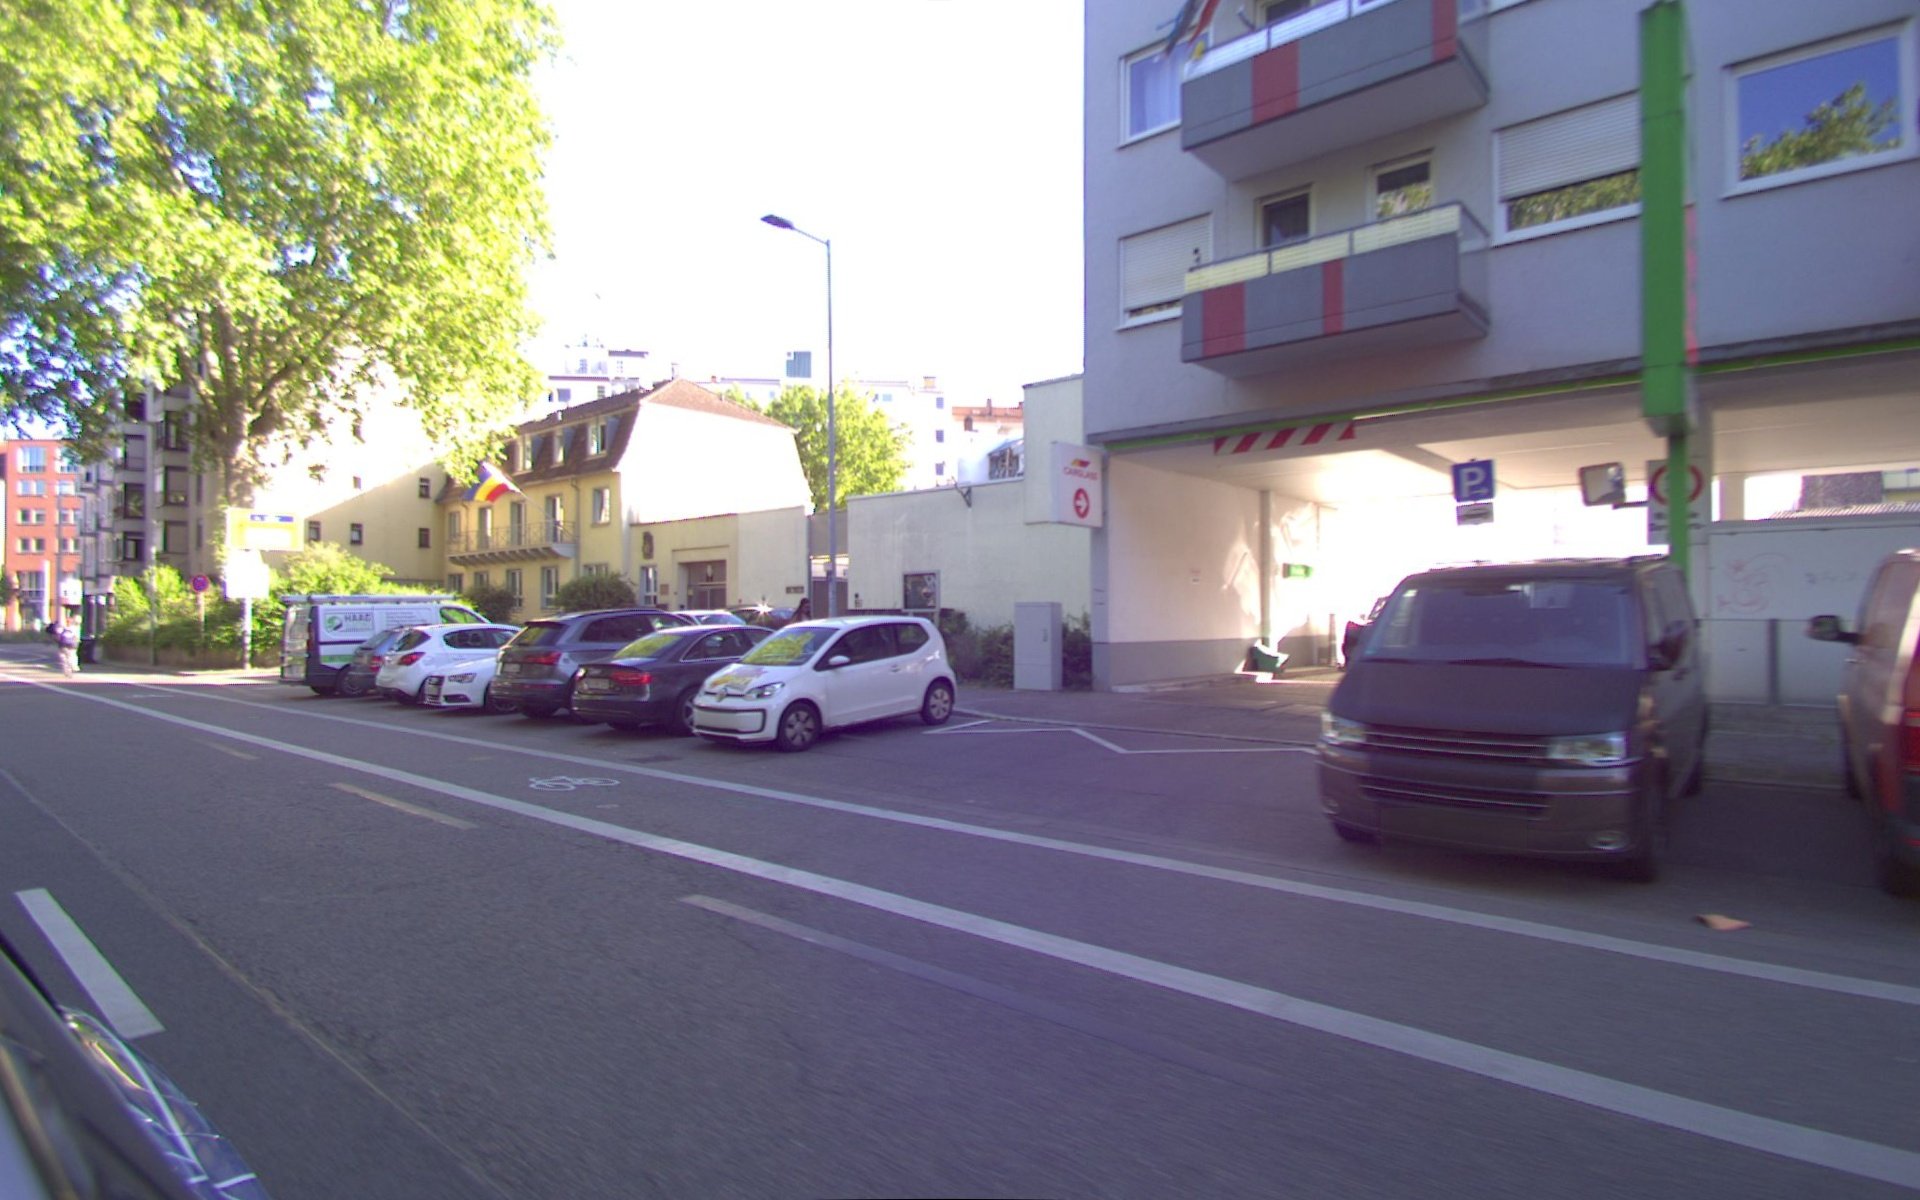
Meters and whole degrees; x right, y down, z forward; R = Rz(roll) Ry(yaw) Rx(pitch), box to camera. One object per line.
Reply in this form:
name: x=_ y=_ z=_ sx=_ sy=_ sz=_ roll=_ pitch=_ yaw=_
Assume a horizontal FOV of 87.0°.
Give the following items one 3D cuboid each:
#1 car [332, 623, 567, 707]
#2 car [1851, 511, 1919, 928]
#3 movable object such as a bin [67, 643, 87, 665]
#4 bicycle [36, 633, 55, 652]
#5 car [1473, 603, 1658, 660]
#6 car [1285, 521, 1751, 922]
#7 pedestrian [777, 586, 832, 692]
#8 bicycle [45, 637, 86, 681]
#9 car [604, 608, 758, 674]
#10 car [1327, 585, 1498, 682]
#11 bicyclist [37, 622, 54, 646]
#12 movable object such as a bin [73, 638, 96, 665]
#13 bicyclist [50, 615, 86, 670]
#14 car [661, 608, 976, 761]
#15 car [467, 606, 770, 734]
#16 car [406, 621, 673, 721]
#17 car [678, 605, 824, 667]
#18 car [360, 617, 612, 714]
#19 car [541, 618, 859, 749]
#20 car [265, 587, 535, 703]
car: x=-10.501 y=1.271 z=21.017 sx=1.852 sy=1.444 sz=3.946 roll=-2 pitch=0 yaw=40
car: x=6.618 y=0.473 z=5.814 sx=2.145 sy=1.966 sz=4.376 roll=-2 pitch=1 yaw=41
movable object such as a bin: x=-37.084 y=2.254 z=42.490 sx=0.603 sy=0.908 sz=0.536 roll=-1 pitch=-2 yaw=41
bicycle: x=-62.096 y=2.871 z=68.691 sx=2.178 sy=1.209 sz=0.721 roll=-1 pitch=-3 yaw=43
car: x=17.045 y=0.865 z=28.600 sx=4.252 sy=1.475 sz=1.757 roll=-2 pitch=-1 yaw=41
car: x=4.282 y=0.542 z=7.336 sx=2.055 sy=1.966 sz=4.476 roll=-2 pitch=1 yaw=41
pedestrian: x=-2.729 y=0.671 z=17.723 sx=0.722 sy=1.803 sz=0.625 roll=-2 pitch=-2 yaw=41
bicycle: x=-26.184 y=1.710 z=29.609 sx=2.048 sy=1.249 sz=0.600 roll=-2 pitch=-4 yaw=41
car: x=-7.023 y=0.988 z=25.299 sx=3.998 sy=1.475 sz=1.771 roll=-2 pitch=0 yaw=41
car: x=9.366 y=0.630 z=20.748 sx=1.999 sy=1.763 sz=4.476 roll=-2 pitch=-1 yaw=41
bicyclist: x=-62.112 y=2.296 z=68.729 sx=1.167 sy=1.654 sz=0.721 roll=-1 pitch=-2 yaw=42
movable object such as a bin: x=-35.581 y=2.082 z=41.128 sx=0.644 sy=1.079 sz=0.588 roll=-1 pitch=-2 yaw=41
bicyclist: x=-25.936 y=1.239 z=29.418 sx=0.933 sy=1.557 sz=0.600 roll=-2 pitch=-4 yaw=41
car: x=-1.670 y=0.930 z=12.833 sx=1.829 sy=1.524 sz=3.648 roll=-1 pitch=1 yaw=40
car: x=-5.342 y=0.992 z=16.213 sx=2.027 sy=1.696 sz=4.151 roll=-1 pitch=0 yaw=40
car: x=-7.315 y=1.162 z=17.896 sx=1.852 sy=1.444 sz=3.946 roll=-2 pitch=-1 yaw=40
car: x=-5.698 y=0.948 z=27.389 sx=3.998 sy=1.475 sz=1.771 roll=-2 pitch=1 yaw=41
car: x=-8.965 y=1.162 z=19.369 sx=1.852 sy=1.571 sz=3.946 roll=-2 pitch=-1 yaw=40
car: x=-3.518 y=1.046 z=14.233 sx=1.915 sy=1.467 sz=3.946 roll=-1 pitch=0 yaw=40
car: x=-12.314 y=0.890 z=22.534 sx=2.138 sy=2.233 sz=4.795 roll=-1 pitch=0 yaw=40
